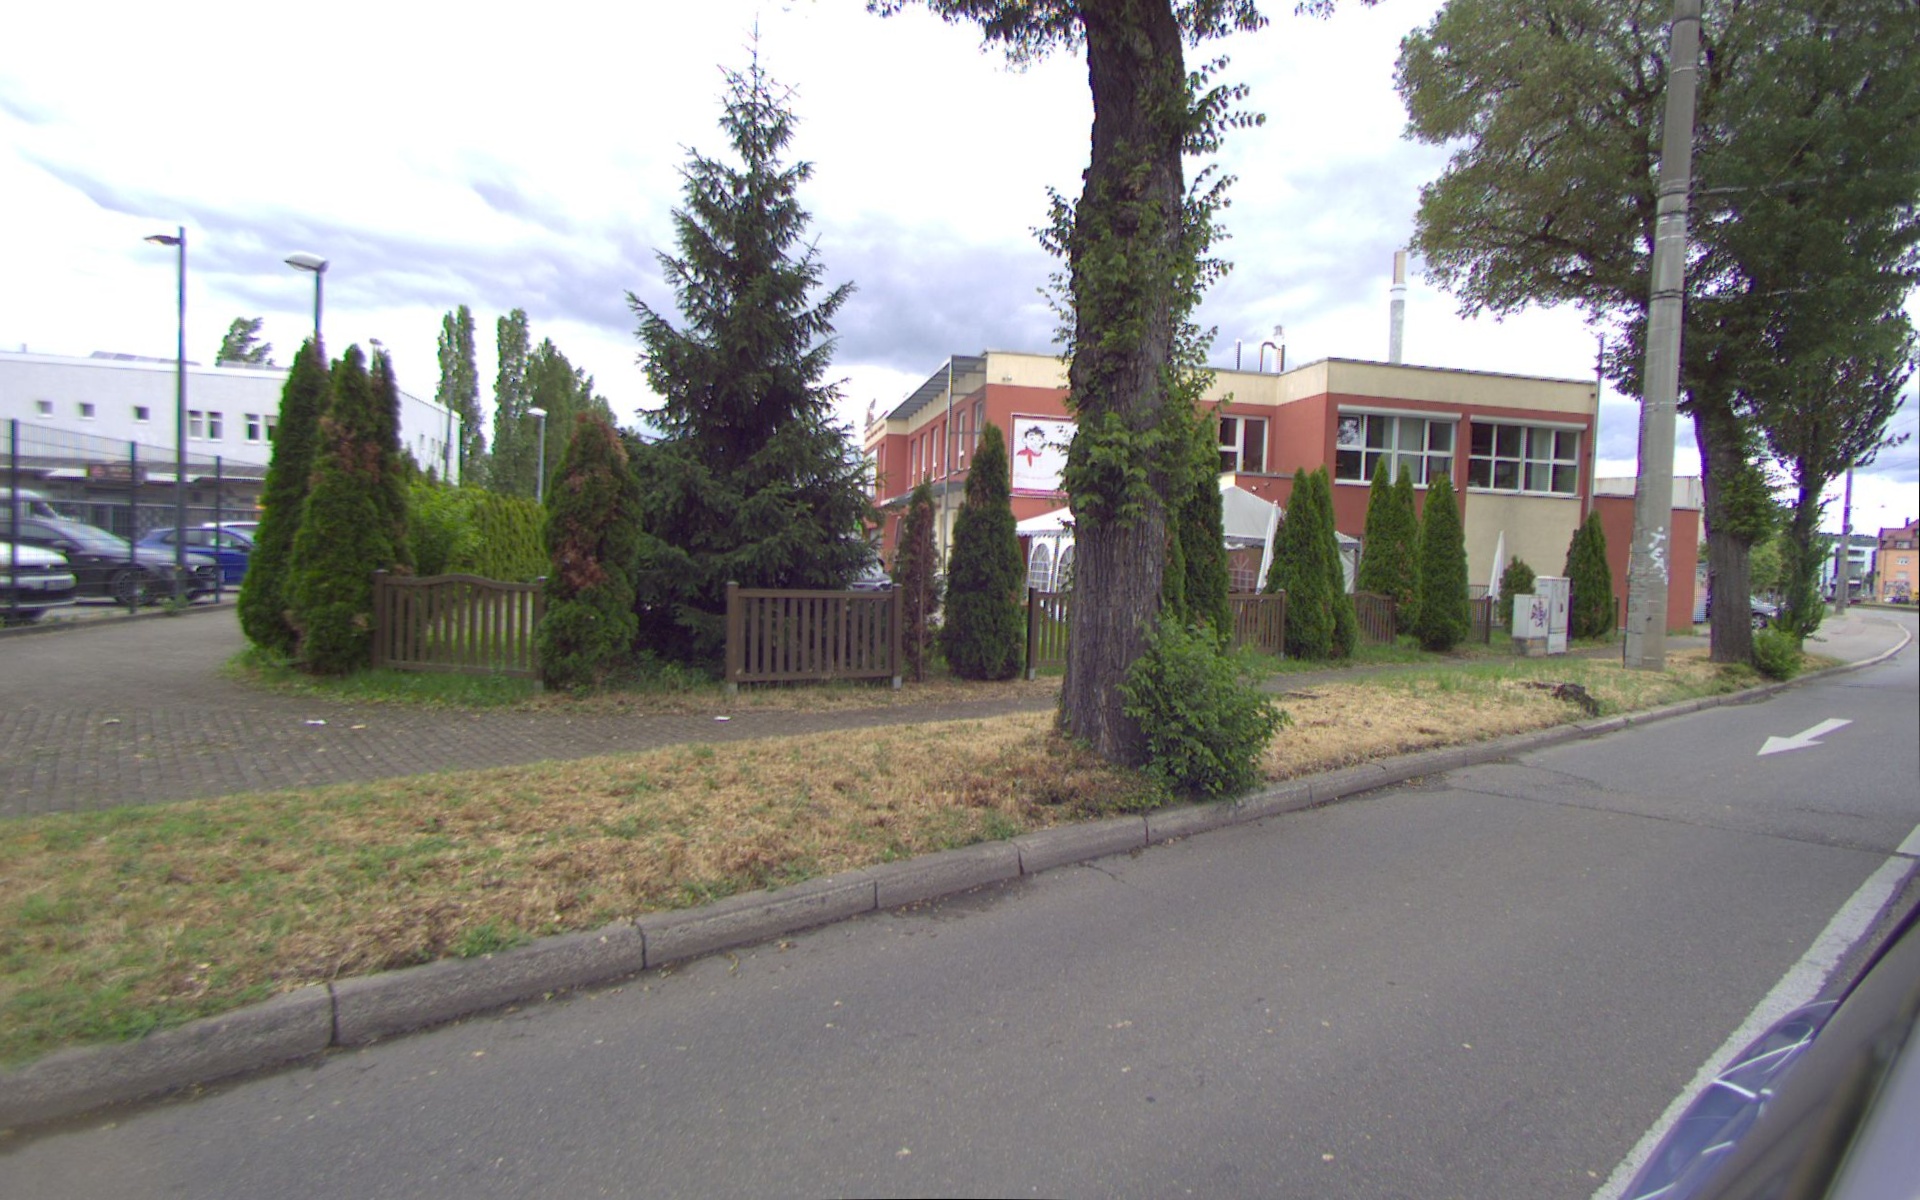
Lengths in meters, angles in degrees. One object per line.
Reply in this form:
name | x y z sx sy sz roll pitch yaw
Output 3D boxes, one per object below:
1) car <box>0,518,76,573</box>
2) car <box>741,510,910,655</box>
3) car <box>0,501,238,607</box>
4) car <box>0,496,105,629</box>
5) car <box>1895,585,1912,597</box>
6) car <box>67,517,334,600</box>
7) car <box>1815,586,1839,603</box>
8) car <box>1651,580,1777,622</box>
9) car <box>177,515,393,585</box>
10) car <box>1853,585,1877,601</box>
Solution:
car | -31.325 -1.729 32.346 4.181 1.670 2.004 0 0 -17
car | -2.316 -0.271 16.477 1.958 2.039 4.008 0 0 -19
car | -15.571 -0.814 17.658 4.407 1.686 2.005 1 2 -14
car | -14.447 -0.563 13.352 4.407 1.686 2.005 1 2 -14
car | 160.646 -1.480 172.244 1.992 2.039 3.940 0 0 42
car | -17.034 -0.929 22.964 4.407 1.686 2.005 1 2 -14
car | 108.989 -0.704 127.188 1.903 1.737 4.072 10 9 43
car | 30.838 0.020 41.446 3.986 1.666 1.867 0 0 43
car | -17.991 -1.327 27.197 4.407 1.686 2.005 1 2 -14
car | 100.474 -0.751 112.351 1.864 1.772 3.937 0 0 44
